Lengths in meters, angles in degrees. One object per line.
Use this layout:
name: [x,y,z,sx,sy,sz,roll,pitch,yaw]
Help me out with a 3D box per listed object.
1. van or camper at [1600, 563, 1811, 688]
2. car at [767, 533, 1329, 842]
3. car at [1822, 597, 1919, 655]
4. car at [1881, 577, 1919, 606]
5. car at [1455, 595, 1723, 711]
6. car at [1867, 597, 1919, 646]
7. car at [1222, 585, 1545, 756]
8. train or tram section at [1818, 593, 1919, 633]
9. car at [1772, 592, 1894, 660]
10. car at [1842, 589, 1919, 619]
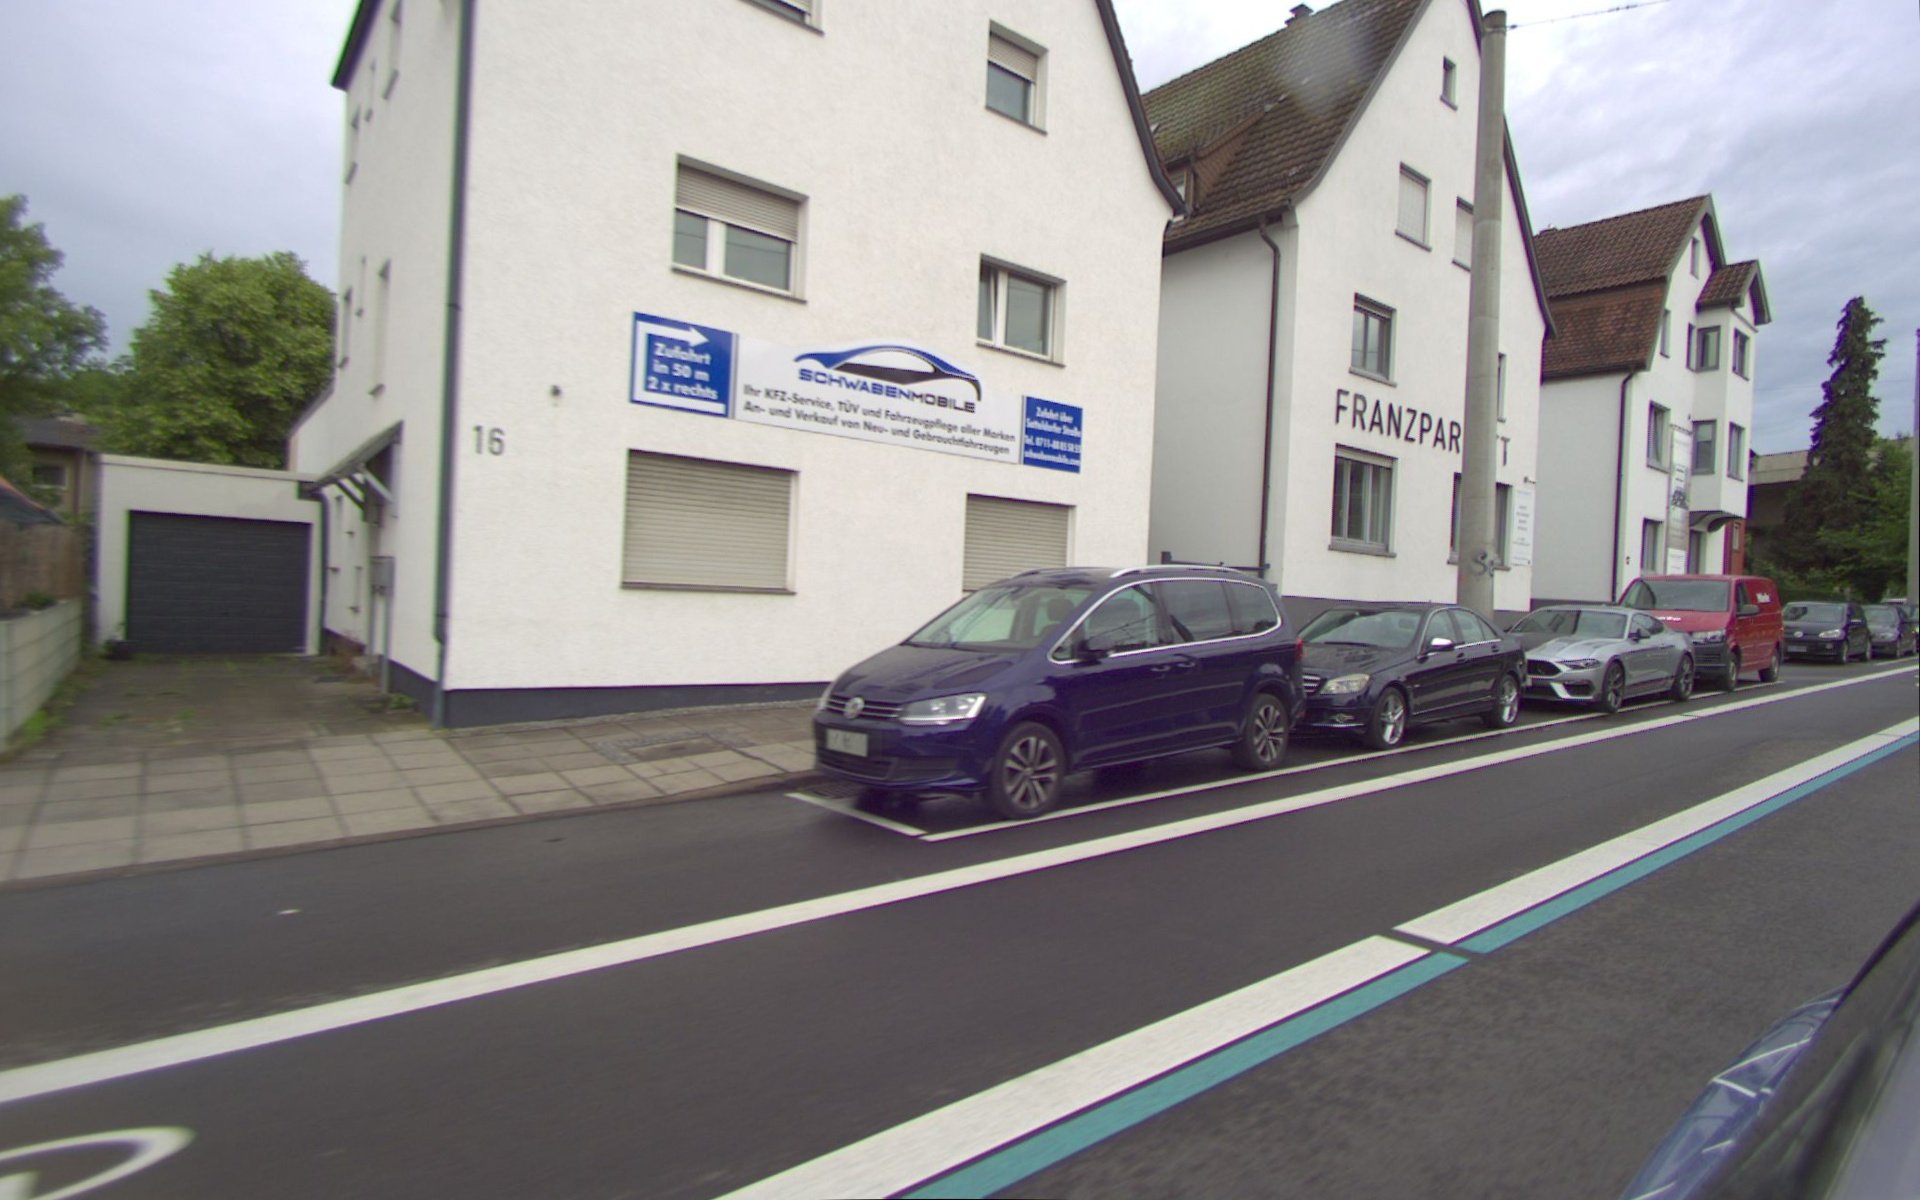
van or camper: [13.412,0.371,18.084,4.905,1.944,1.855,0,2,-40]
car: [0.928,0.521,8.188,4.603,1.823,1.842,0,-1,-40]
car: [25.334,0.664,27.786,4.482,1.430,1.716,0,1,-39]
car: [54.336,-0.450,56.952,3.658,1.541,1.806,2,0,-11]
car: [9.202,0.654,14.661,4.584,1.393,1.801,0,1,-38]
car: [29.789,0.630,31.429,4.482,1.441,1.681,0,1,-39]
car: [4.785,0.645,11.168,4.062,1.558,1.637,0,-1,-40]
train or tram section: [99.155,1.297,108.490,2.836,4.021,19.239,0,0,15]
car: [21.617,0.596,25.023,3.652,1.469,1.582,-1,3,-38]
car: [54.528,0.265,59.517,3.940,1.651,1.971,2,0,-11]
